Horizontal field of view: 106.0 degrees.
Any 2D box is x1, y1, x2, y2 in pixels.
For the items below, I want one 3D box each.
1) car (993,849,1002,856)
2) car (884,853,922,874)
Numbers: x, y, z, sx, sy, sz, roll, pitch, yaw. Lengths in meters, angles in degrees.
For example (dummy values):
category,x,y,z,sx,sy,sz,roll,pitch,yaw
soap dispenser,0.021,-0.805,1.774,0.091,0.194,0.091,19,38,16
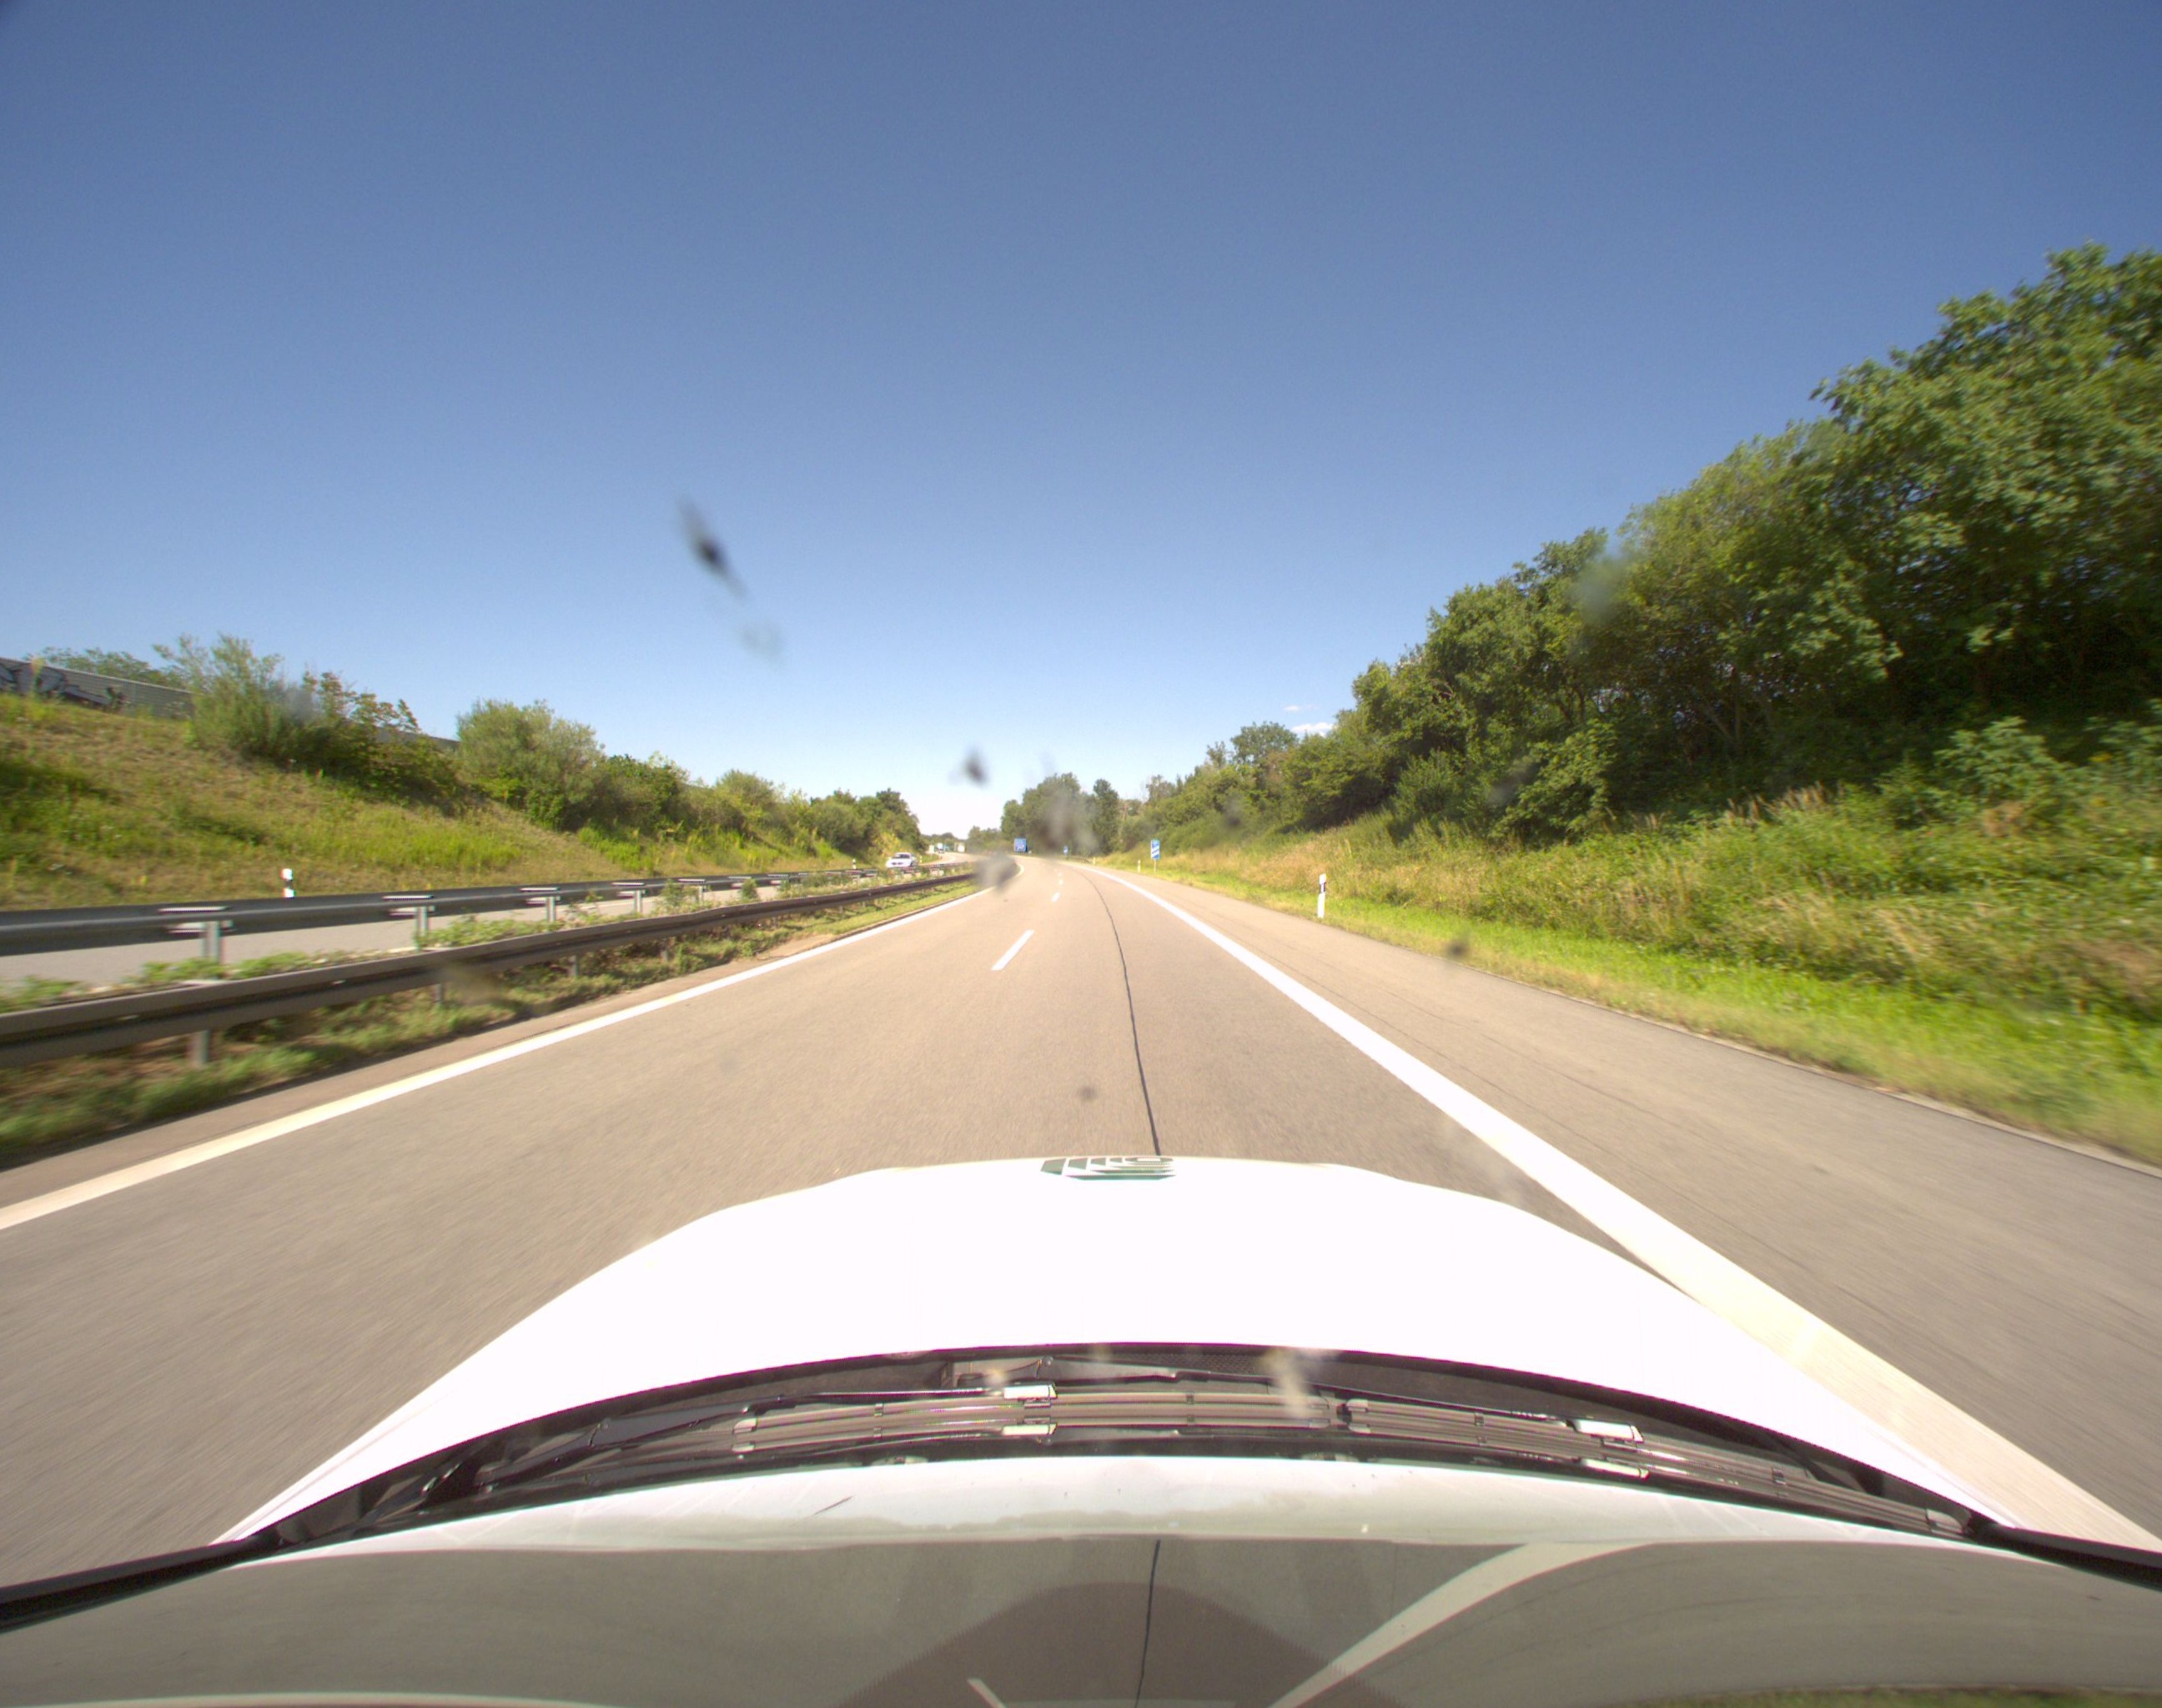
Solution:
category,x,y,z,sx,sy,sz,roll,pitch,yaw
car,-22.495,-0.332,218.858,2.061,1.625,3.987,1,-2,-9
car,-13.565,0.698,62.306,1.894,1.422,4.397,-1,0,-1
